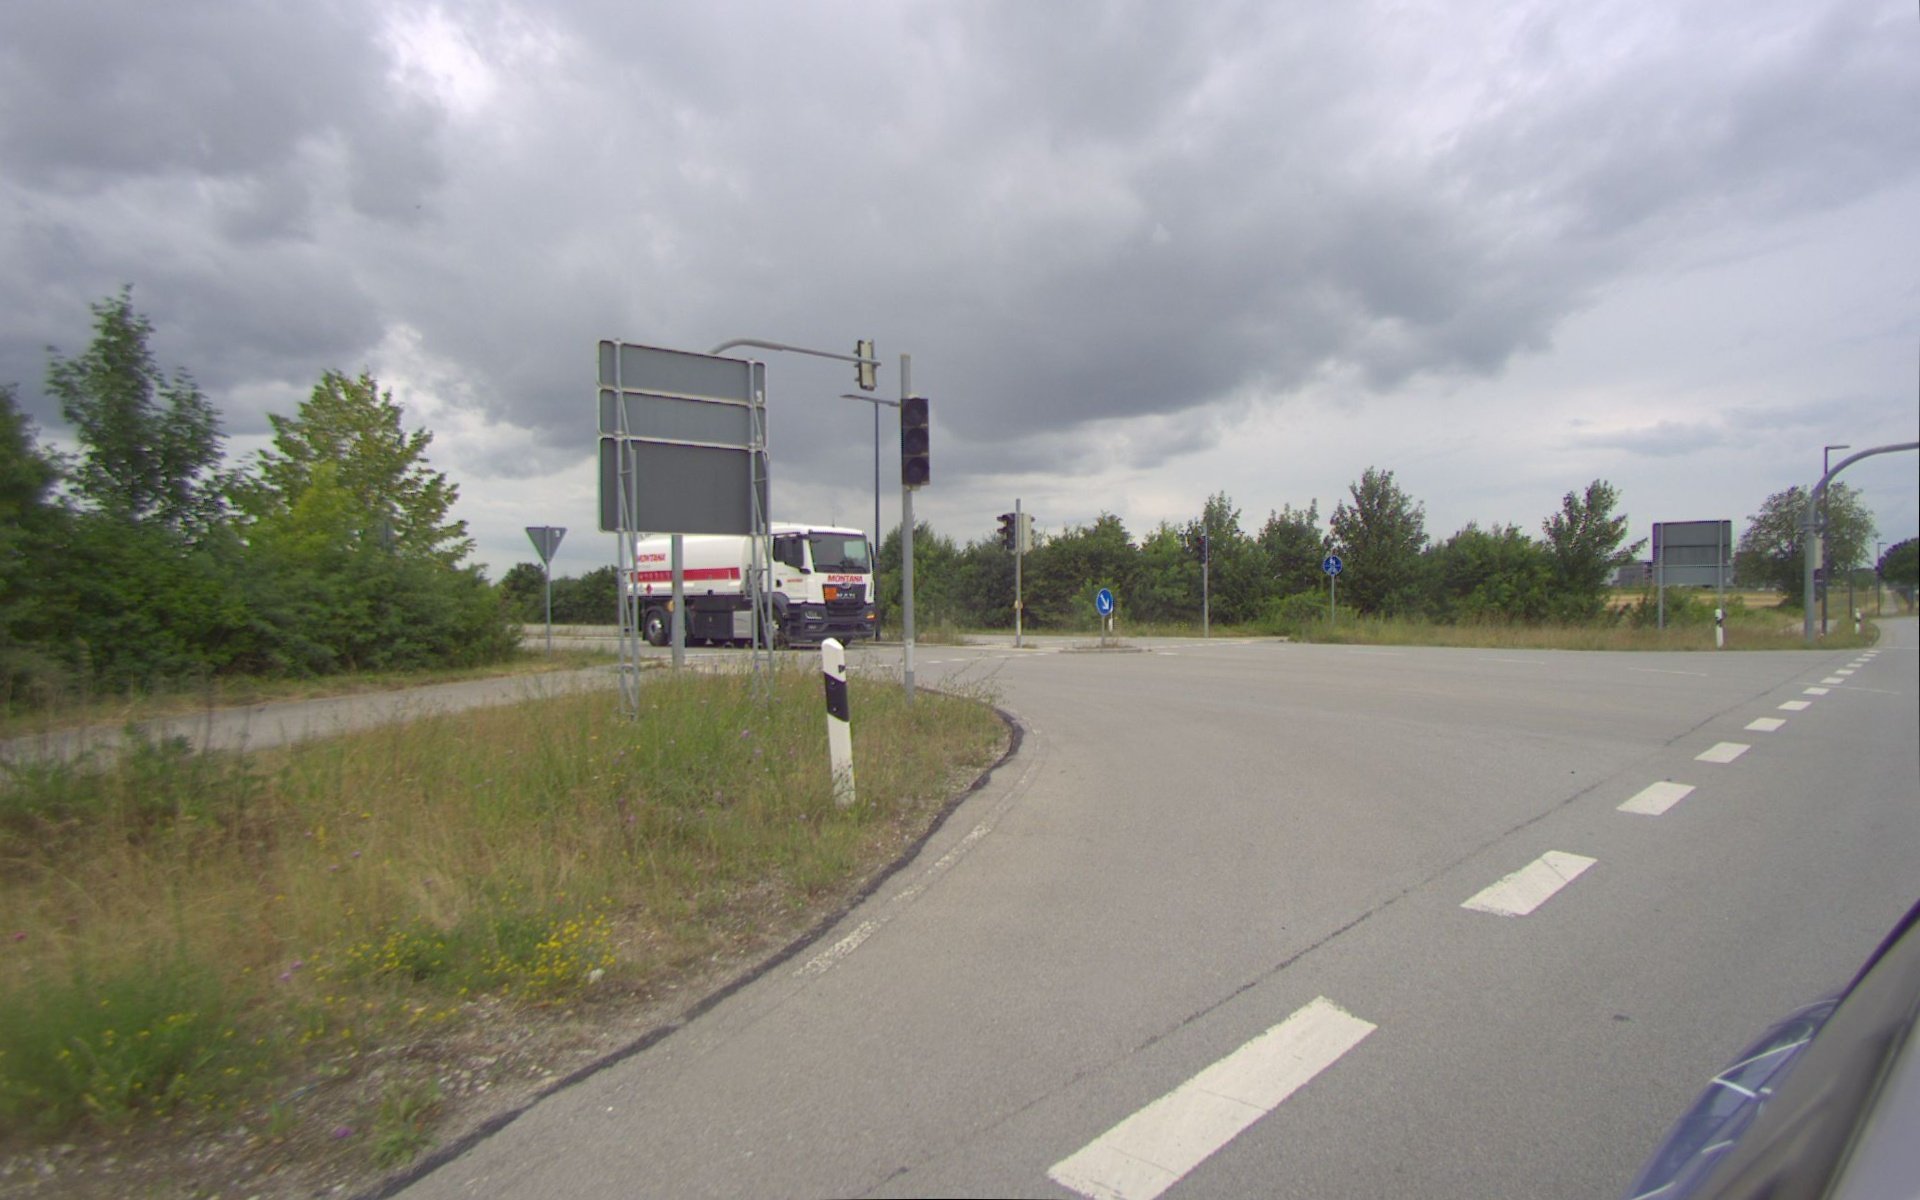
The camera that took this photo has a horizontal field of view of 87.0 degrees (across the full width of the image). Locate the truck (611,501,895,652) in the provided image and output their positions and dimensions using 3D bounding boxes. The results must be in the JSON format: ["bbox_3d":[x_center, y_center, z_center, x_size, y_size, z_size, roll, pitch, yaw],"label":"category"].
[{"bbox_3d":[-5.787,-0.548,27.088,8.613,3.451,2.837,-1,1,41],"label":"truck"}]
